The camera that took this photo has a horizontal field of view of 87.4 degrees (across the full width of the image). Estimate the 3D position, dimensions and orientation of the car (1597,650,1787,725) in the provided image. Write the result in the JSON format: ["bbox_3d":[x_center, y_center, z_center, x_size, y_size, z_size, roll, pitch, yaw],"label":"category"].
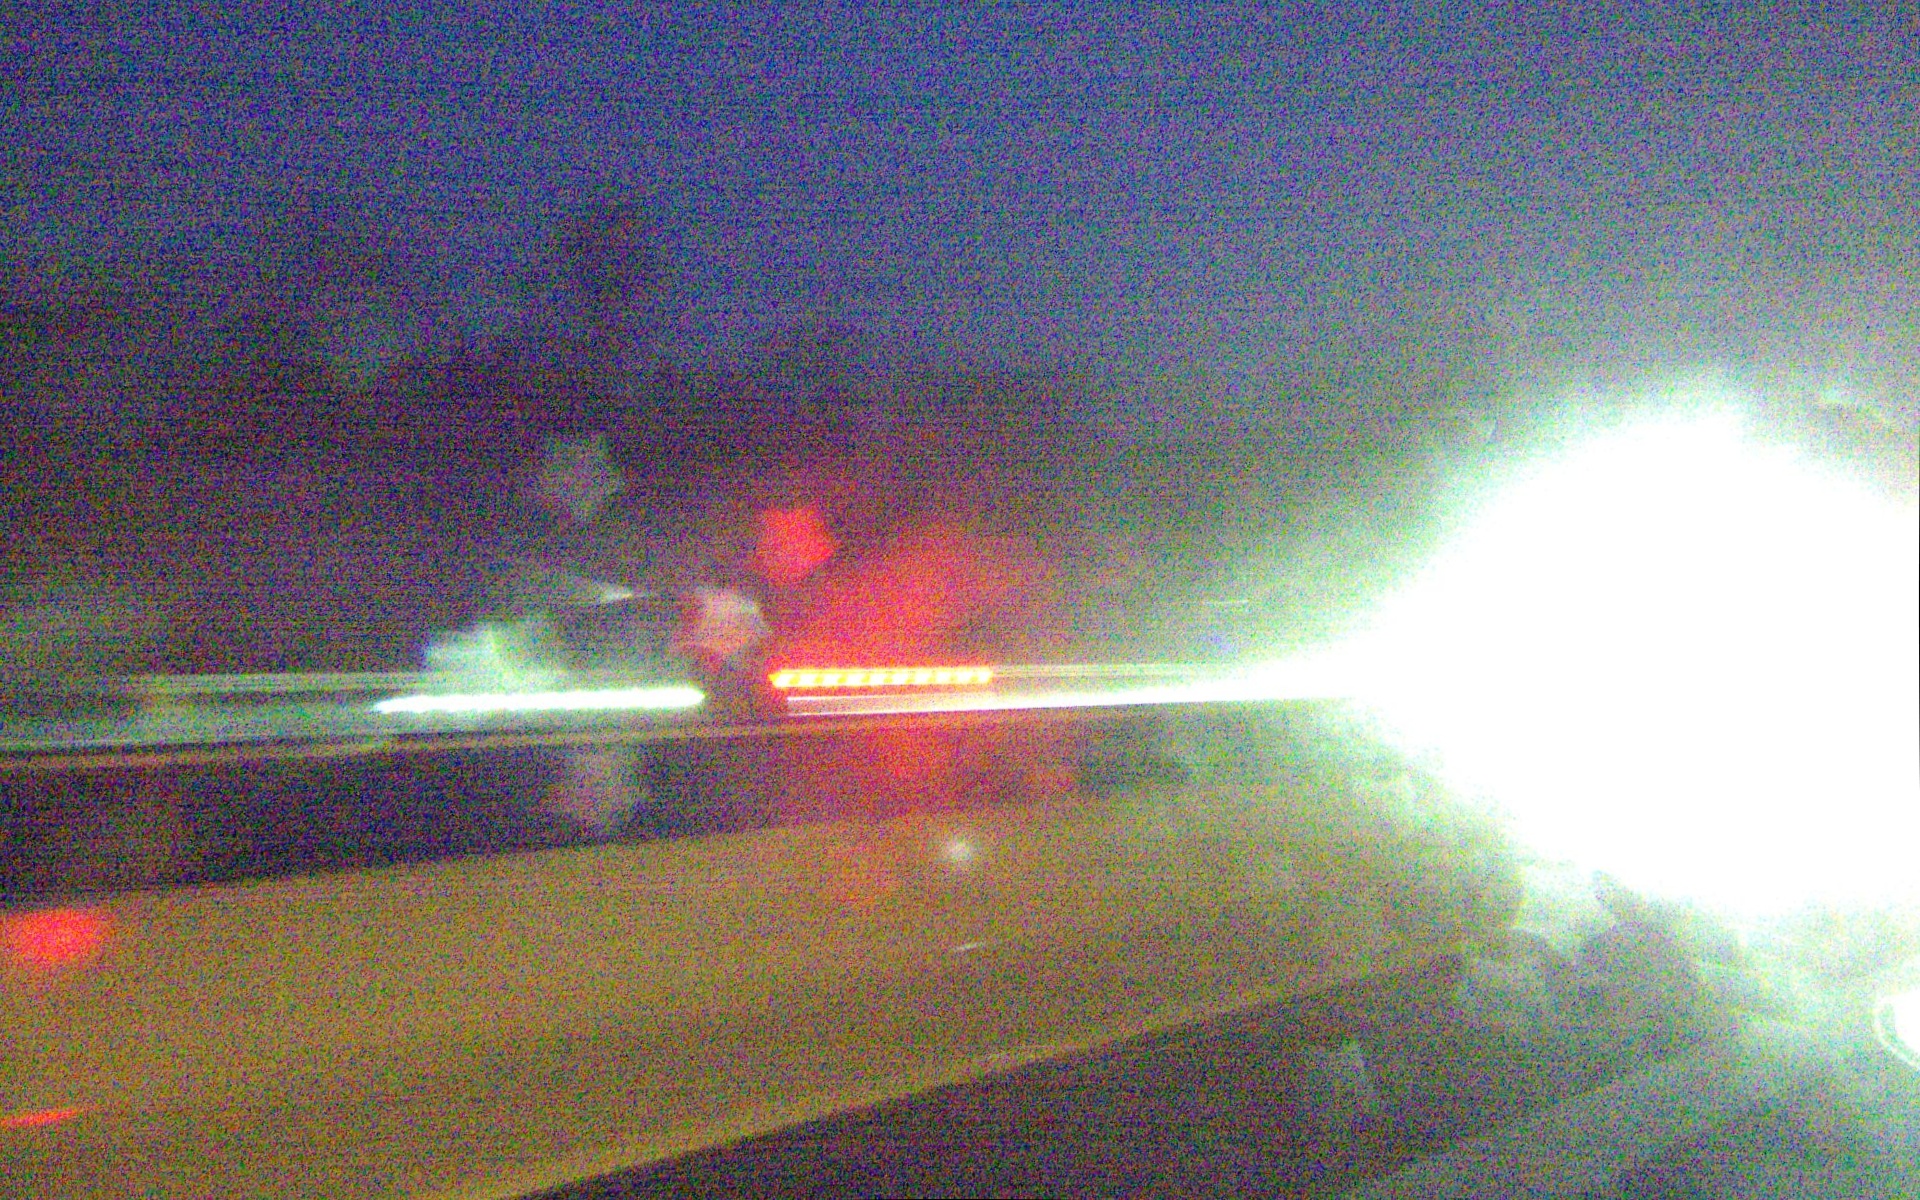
[{"bbox_3d":[17.887,2.068,24.511,4.614,1.546,1.984,2,1,-30],"label":"car"}]

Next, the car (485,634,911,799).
[{"bbox_3d":[-3.113,1.275,12.145,4.614,1.546,1.984,2,1,-30],"label":"car"}]
